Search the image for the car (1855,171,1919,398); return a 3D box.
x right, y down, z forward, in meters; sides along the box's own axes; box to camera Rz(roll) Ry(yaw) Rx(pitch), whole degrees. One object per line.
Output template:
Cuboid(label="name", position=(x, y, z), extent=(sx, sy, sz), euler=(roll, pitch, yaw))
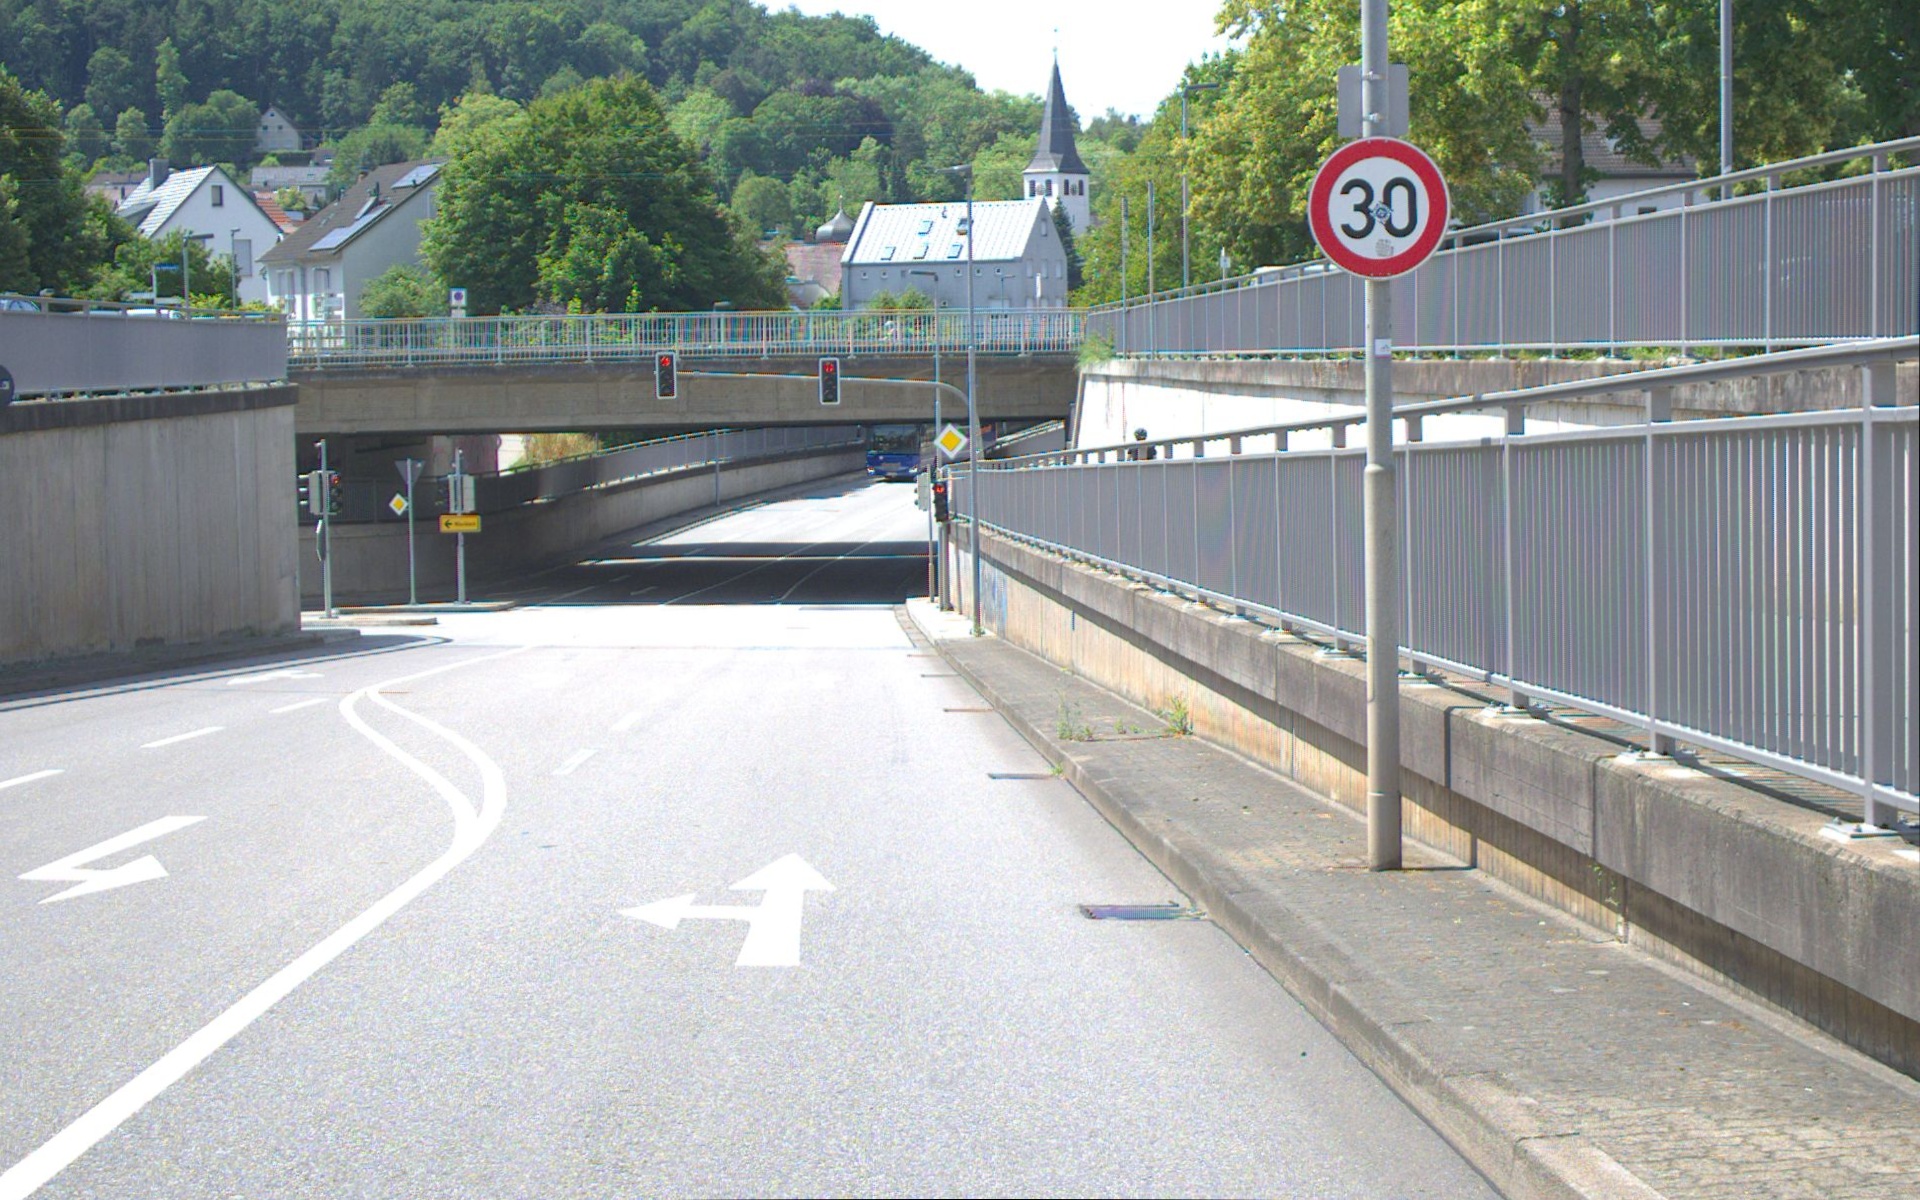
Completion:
Cuboid(label="car", position=(8.819, -2.297, 25.356), extent=(3.987, 1.550, 1.724), euler=(0, 1, 1))

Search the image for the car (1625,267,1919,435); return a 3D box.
Cuboid(label="car", position=(8.630, -2.402, 33.465), extent=(3.987, 1.550, 1.724), euler=(0, 1, 1))

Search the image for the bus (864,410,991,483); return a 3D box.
Cuboid(label="bus", position=(-1.387, -7.042, 156.131), extent=(2.583, 3.161, 12.370), euler=(1, 3, 15))

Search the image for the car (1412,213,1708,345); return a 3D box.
Cuboid(label="car", position=(8.644, -4.623, 49.721), extent=(3.987, 1.764, 1.770), euler=(0, 1, 2))

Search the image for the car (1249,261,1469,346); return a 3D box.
Cuboid(label="car", position=(7.544, -5.619, 65.271), extent=(3.987, 1.481, 1.770), euler=(0, 1, 2))

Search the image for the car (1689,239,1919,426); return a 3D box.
Cuboid(label="car", position=(8.592, -2.331, 30.247), extent=(3.987, 1.550, 1.724), euler=(0, 1, 1))
